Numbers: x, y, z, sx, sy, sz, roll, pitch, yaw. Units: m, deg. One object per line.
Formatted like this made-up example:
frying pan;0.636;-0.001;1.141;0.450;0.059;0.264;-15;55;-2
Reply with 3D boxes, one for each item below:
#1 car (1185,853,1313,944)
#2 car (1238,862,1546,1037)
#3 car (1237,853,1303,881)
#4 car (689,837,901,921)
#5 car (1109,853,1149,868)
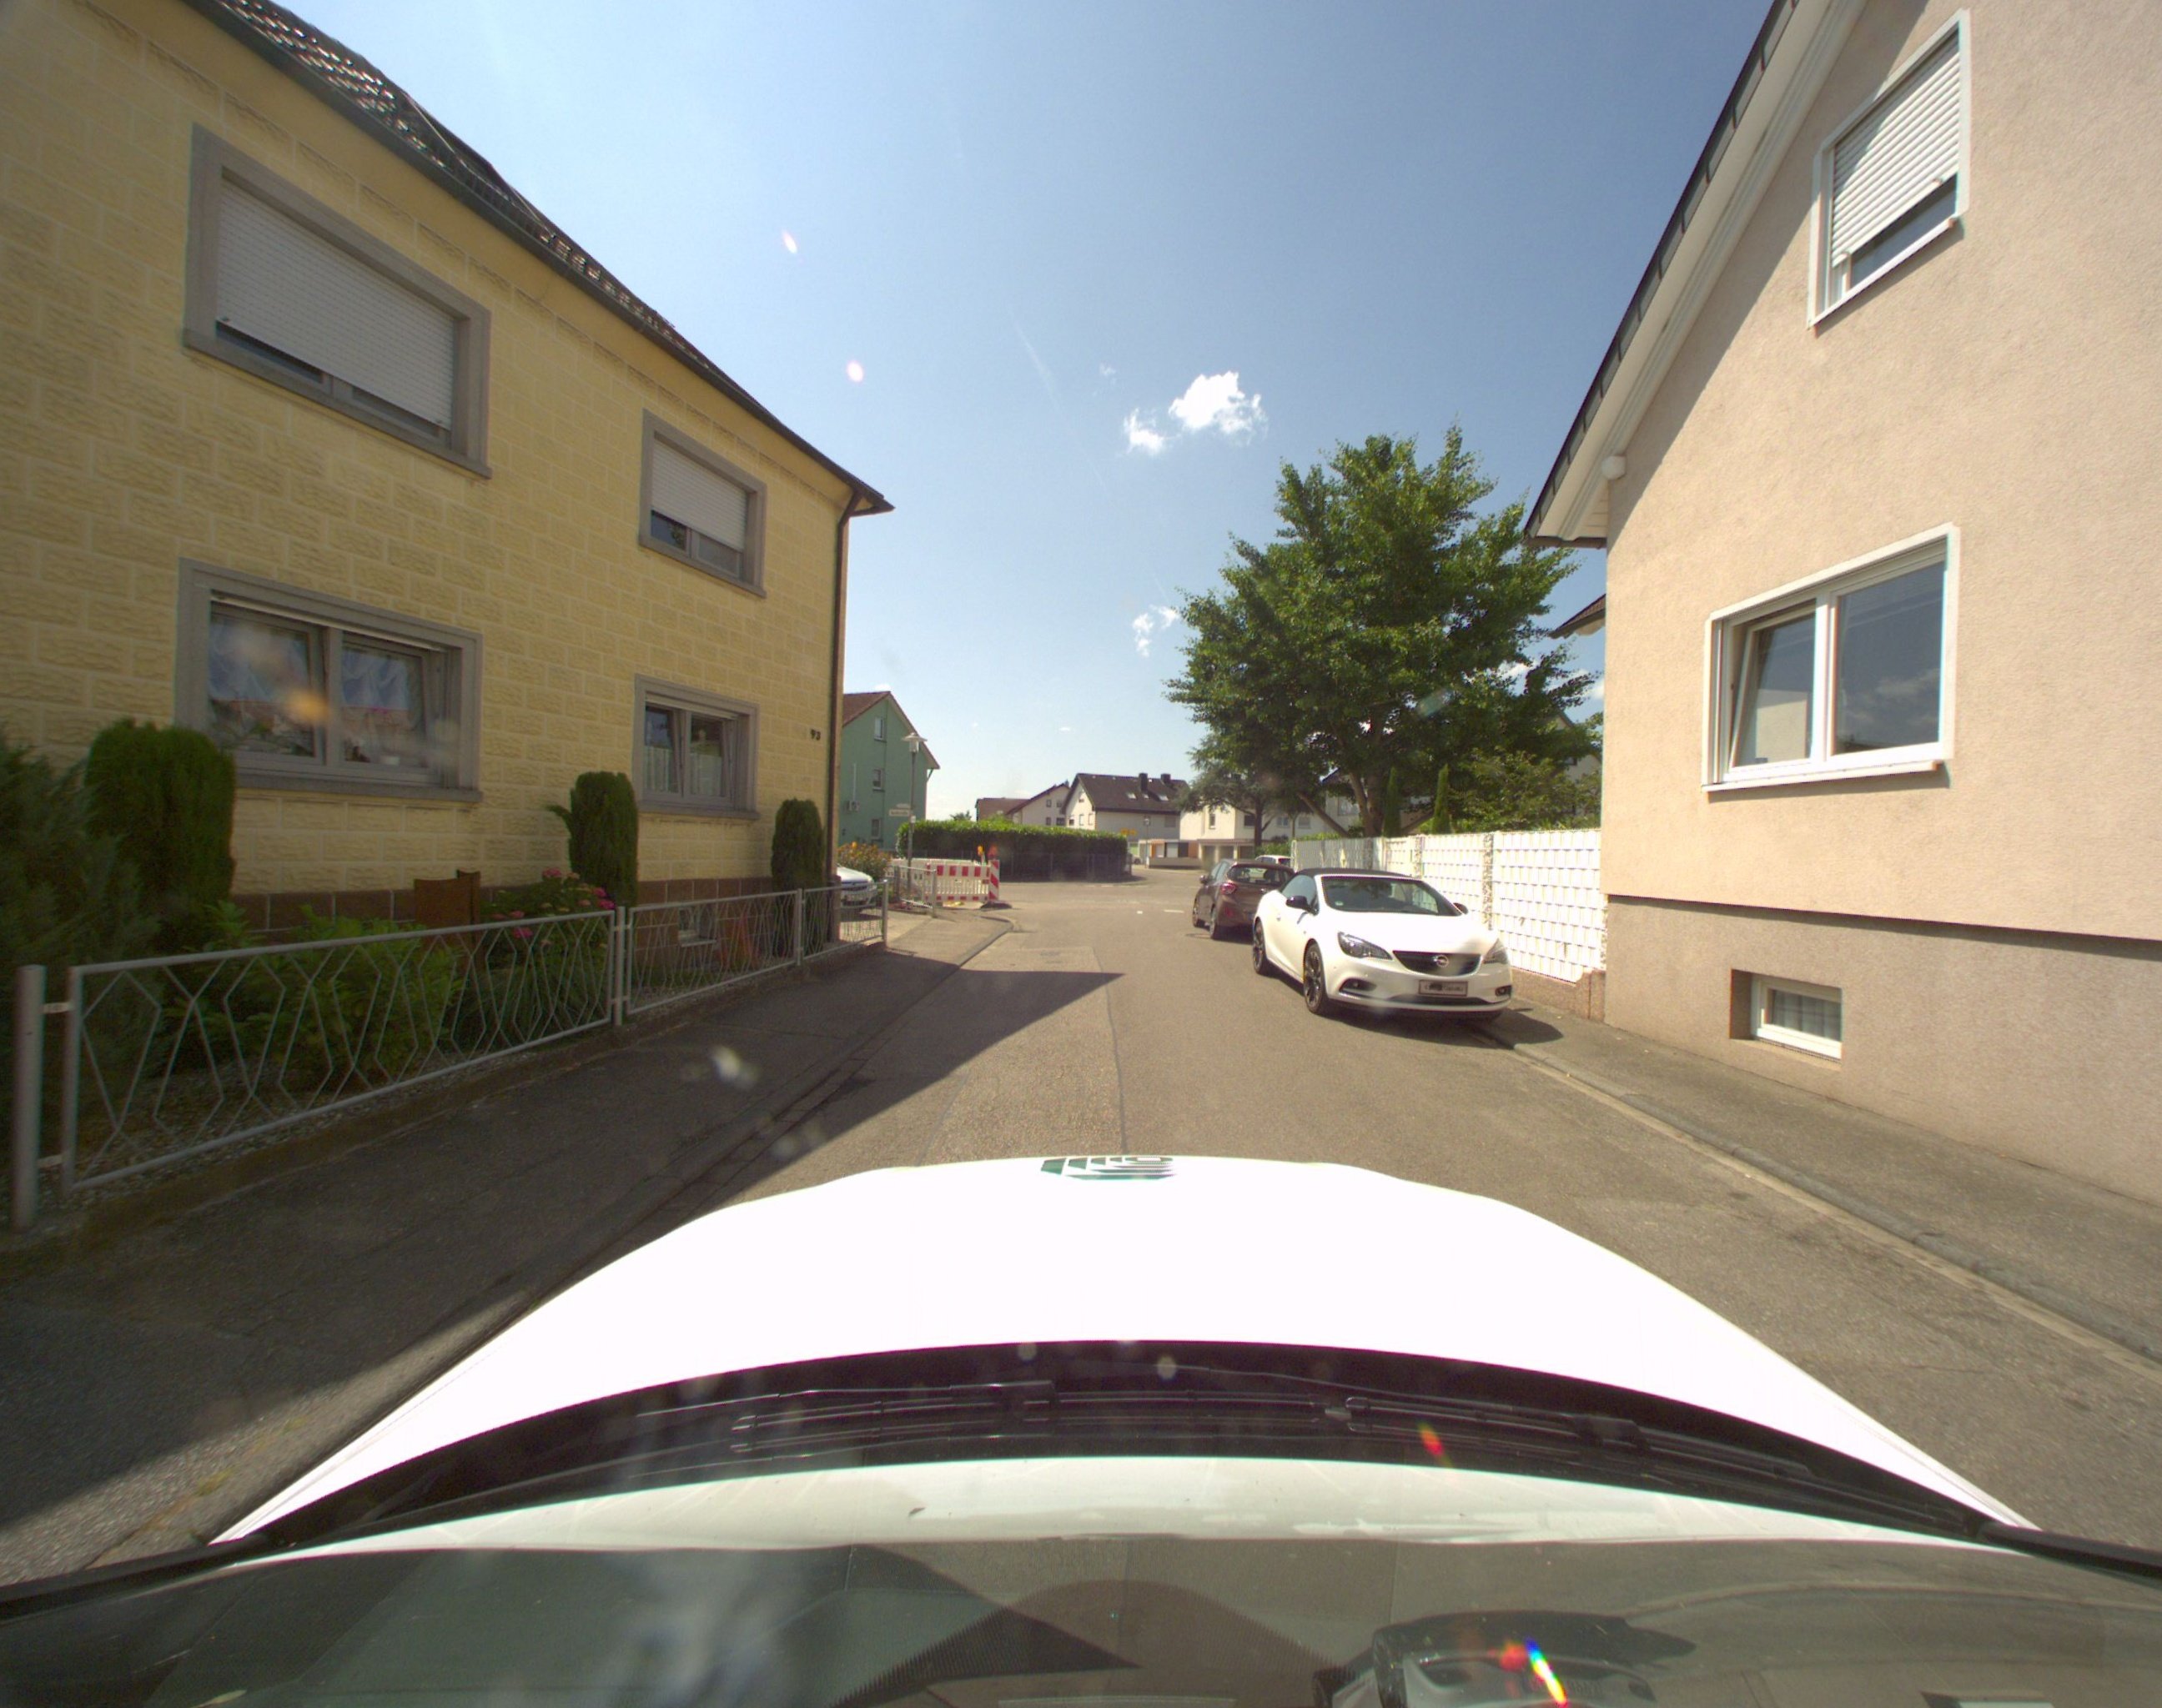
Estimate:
car;3.236;0.786;16.425;1.707;1.532;4.035;2;0;0
car;3.206;0.867;9.562;1.888;1.428;4.739;2;0;2
car;11.414;0.758;49.369;1.805;1.563;4.113;2;0;-23
car;-6.018;0.443;16.949;4.416;1.485;1.803;2;0;33
car;4.867;0.635;82.401;3.612;1.408;1.772;2;0;-21
